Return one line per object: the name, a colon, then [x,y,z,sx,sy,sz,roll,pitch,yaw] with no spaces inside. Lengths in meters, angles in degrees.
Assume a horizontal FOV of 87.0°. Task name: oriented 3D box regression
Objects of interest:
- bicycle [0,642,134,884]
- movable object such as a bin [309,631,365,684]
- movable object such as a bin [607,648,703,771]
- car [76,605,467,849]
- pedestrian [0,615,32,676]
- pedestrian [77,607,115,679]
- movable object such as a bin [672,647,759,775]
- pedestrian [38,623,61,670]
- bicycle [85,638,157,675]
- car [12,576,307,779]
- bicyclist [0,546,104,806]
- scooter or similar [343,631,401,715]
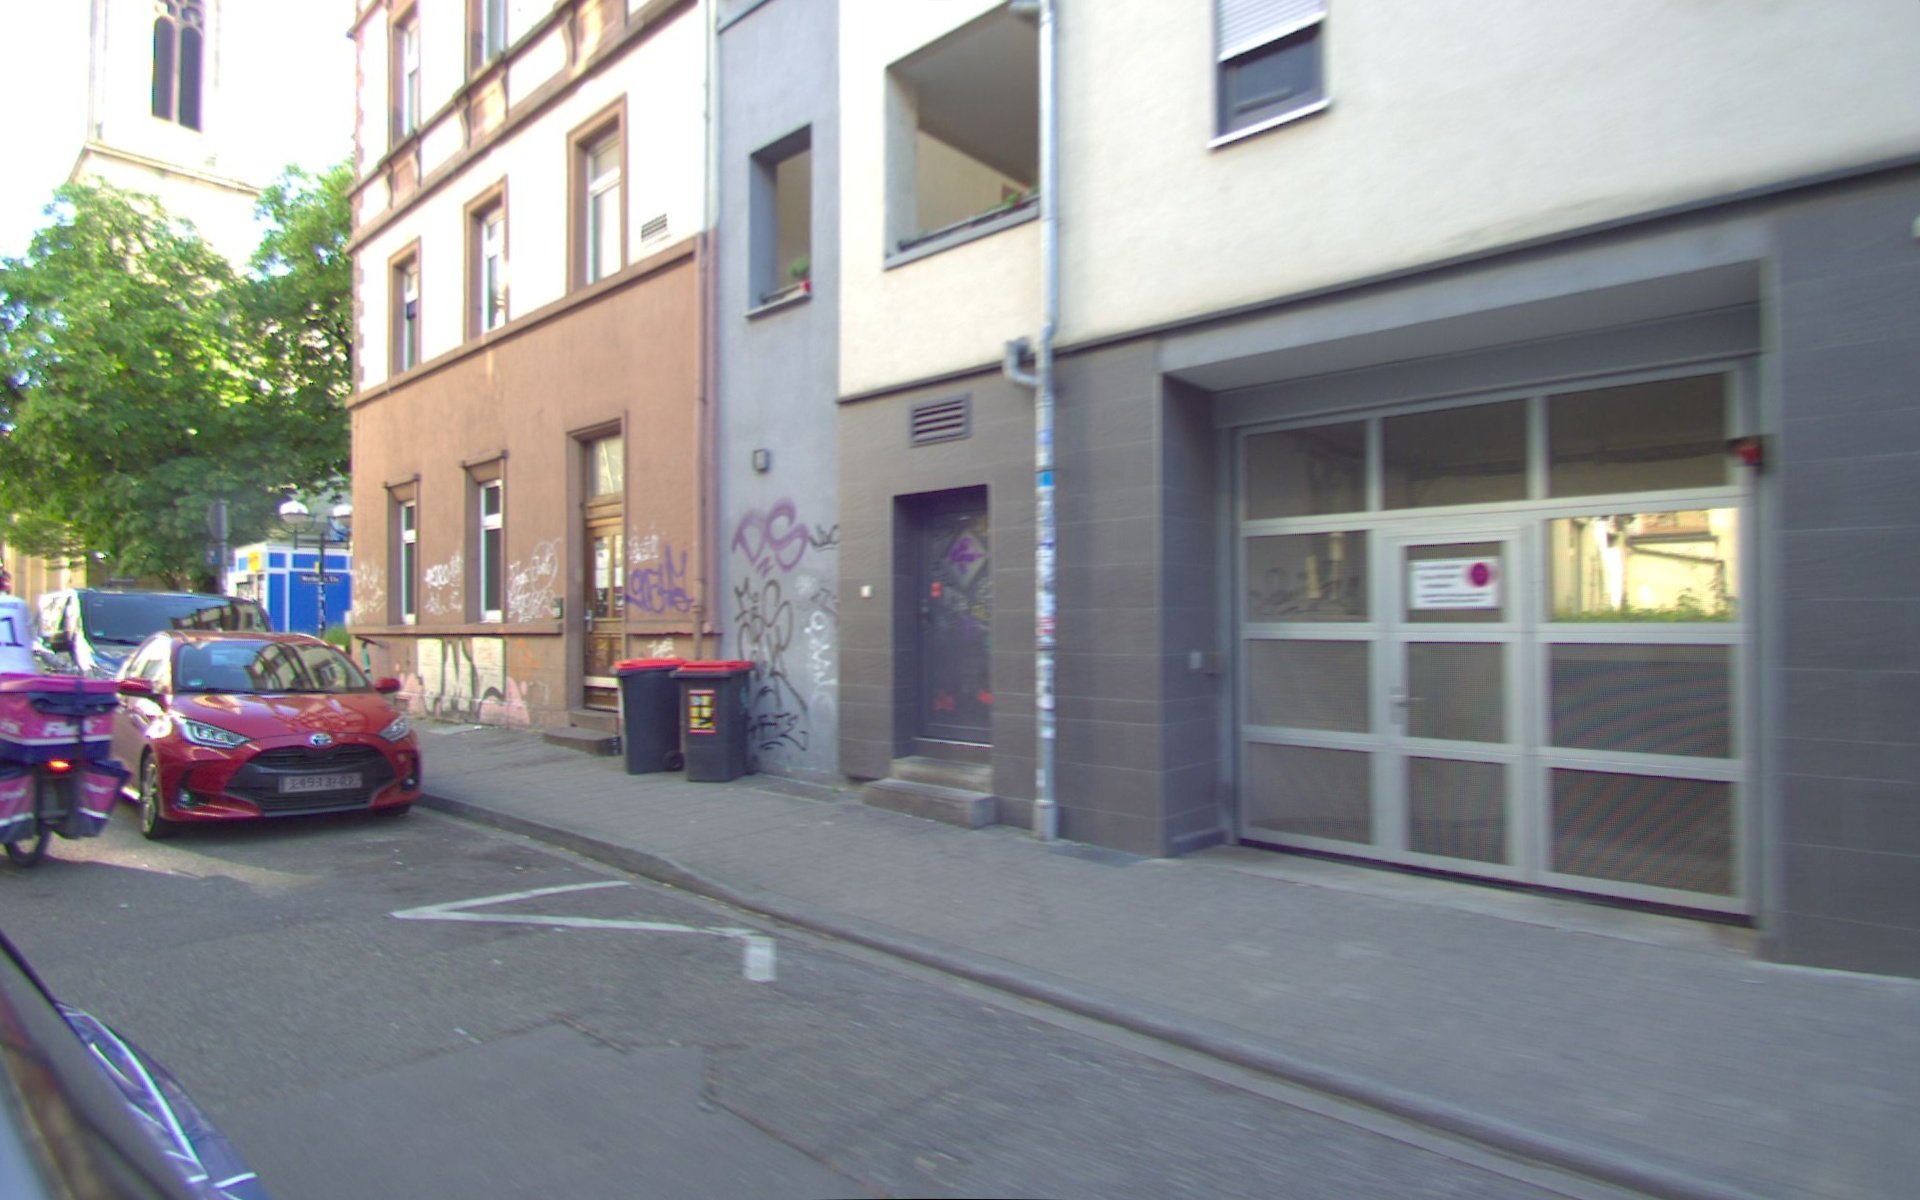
bicycle: [-6.230,0.942,6.525,2.554,1.324,0.967,-2,-3,41]
movable object such as a bin: [-13.574,1.234,22.052,0.745,1.094,0.860,-1,0,42]
movable object such as a bin: [-2.929,1.020,9.702,0.748,1.075,0.653,-1,0,-29]
car: [-5.789,0.861,8.335,3.868,1.533,1.732,-1,-4,42]
pedestrian: [-29.651,1.414,31.758,0.720,1.887,0.709,-1,0,41]
pedestrian: [-22.752,1.112,26.652,0.697,1.847,0.640,-1,1,41]
movable object such as a bin: [-2.207,0.983,9.184,0.501,1.075,0.728,-1,0,10]
pedestrian: [-31.252,1.585,34.748,0.714,1.605,0.474,-1,0,39]
bicycle: [-26.066,1.739,31.463,0.346,1.073,1.673,-1,0,40]
car: [-9.674,0.778,12.032,5.297,1.893,1.998,-2,-1,43]
bicyclist: [-6.406,0.486,6.699,0.952,1.640,0.940,-2,-3,41]
scooter or similar: [-9.136,1.110,15.709,1.391,1.225,0.344,-1,0,42]
